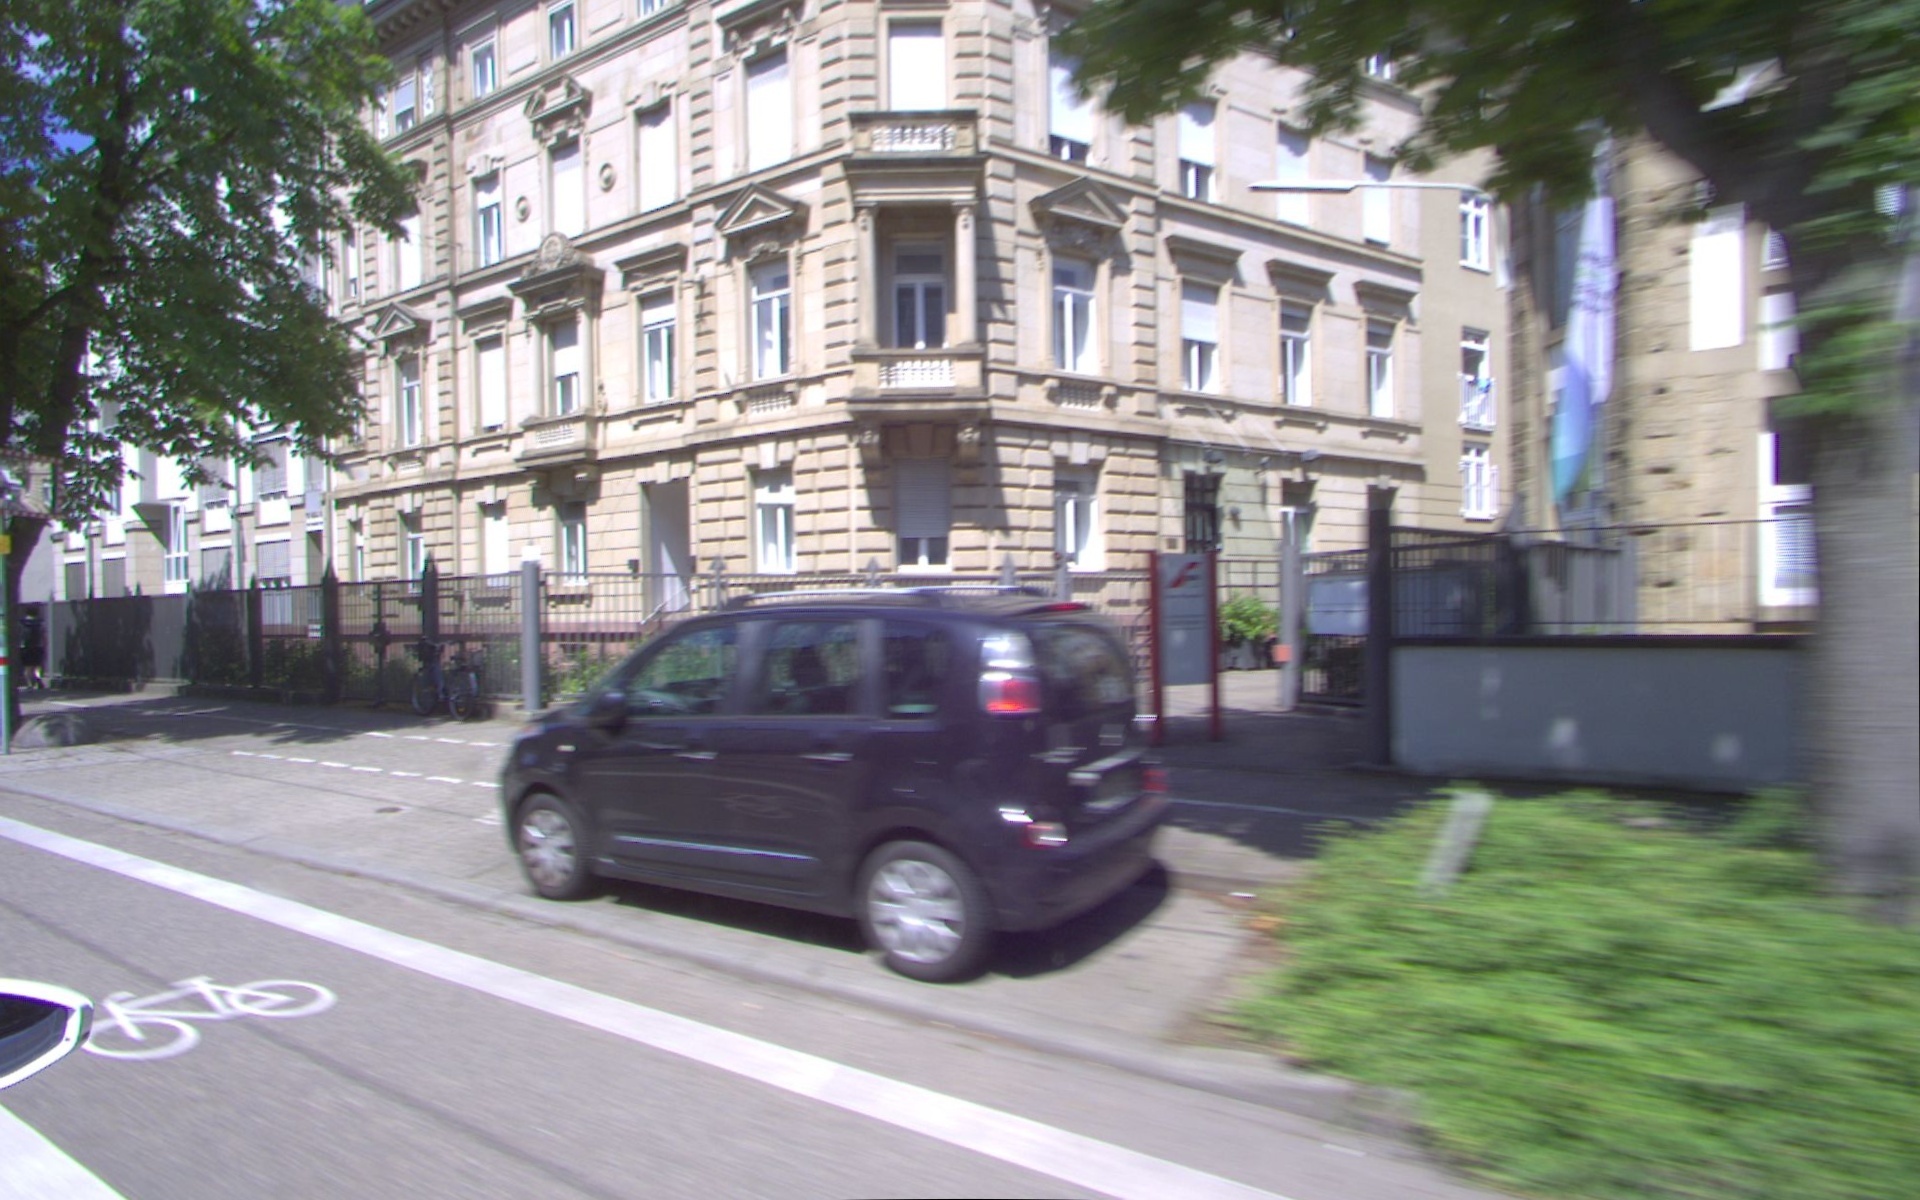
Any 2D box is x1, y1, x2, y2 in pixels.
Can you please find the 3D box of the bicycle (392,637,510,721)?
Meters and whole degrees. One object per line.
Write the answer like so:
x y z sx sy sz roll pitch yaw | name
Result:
-7.172 1.072 14.080 1.953 1.085 0.606 -1 0 34 | bicycle

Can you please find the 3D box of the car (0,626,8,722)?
-16.569 1.163 15.609 3.423 1.472 1.688 -1 0 32 | car

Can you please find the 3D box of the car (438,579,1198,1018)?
-0.920 0.771 5.592 4.026 1.638 1.725 -1 2 33 | car

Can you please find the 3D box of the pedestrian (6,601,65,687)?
-20.163 0.949 21.834 1.068 1.821 0.683 -1 0 32 | pedestrian

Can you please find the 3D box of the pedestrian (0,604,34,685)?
-21.967 1.014 23.091 0.963 1.835 0.659 -1 0 32 | pedestrian

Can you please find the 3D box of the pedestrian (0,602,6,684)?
-21.337 0.936 21.655 1.037 1.785 0.786 -1 0 32 | pedestrian
